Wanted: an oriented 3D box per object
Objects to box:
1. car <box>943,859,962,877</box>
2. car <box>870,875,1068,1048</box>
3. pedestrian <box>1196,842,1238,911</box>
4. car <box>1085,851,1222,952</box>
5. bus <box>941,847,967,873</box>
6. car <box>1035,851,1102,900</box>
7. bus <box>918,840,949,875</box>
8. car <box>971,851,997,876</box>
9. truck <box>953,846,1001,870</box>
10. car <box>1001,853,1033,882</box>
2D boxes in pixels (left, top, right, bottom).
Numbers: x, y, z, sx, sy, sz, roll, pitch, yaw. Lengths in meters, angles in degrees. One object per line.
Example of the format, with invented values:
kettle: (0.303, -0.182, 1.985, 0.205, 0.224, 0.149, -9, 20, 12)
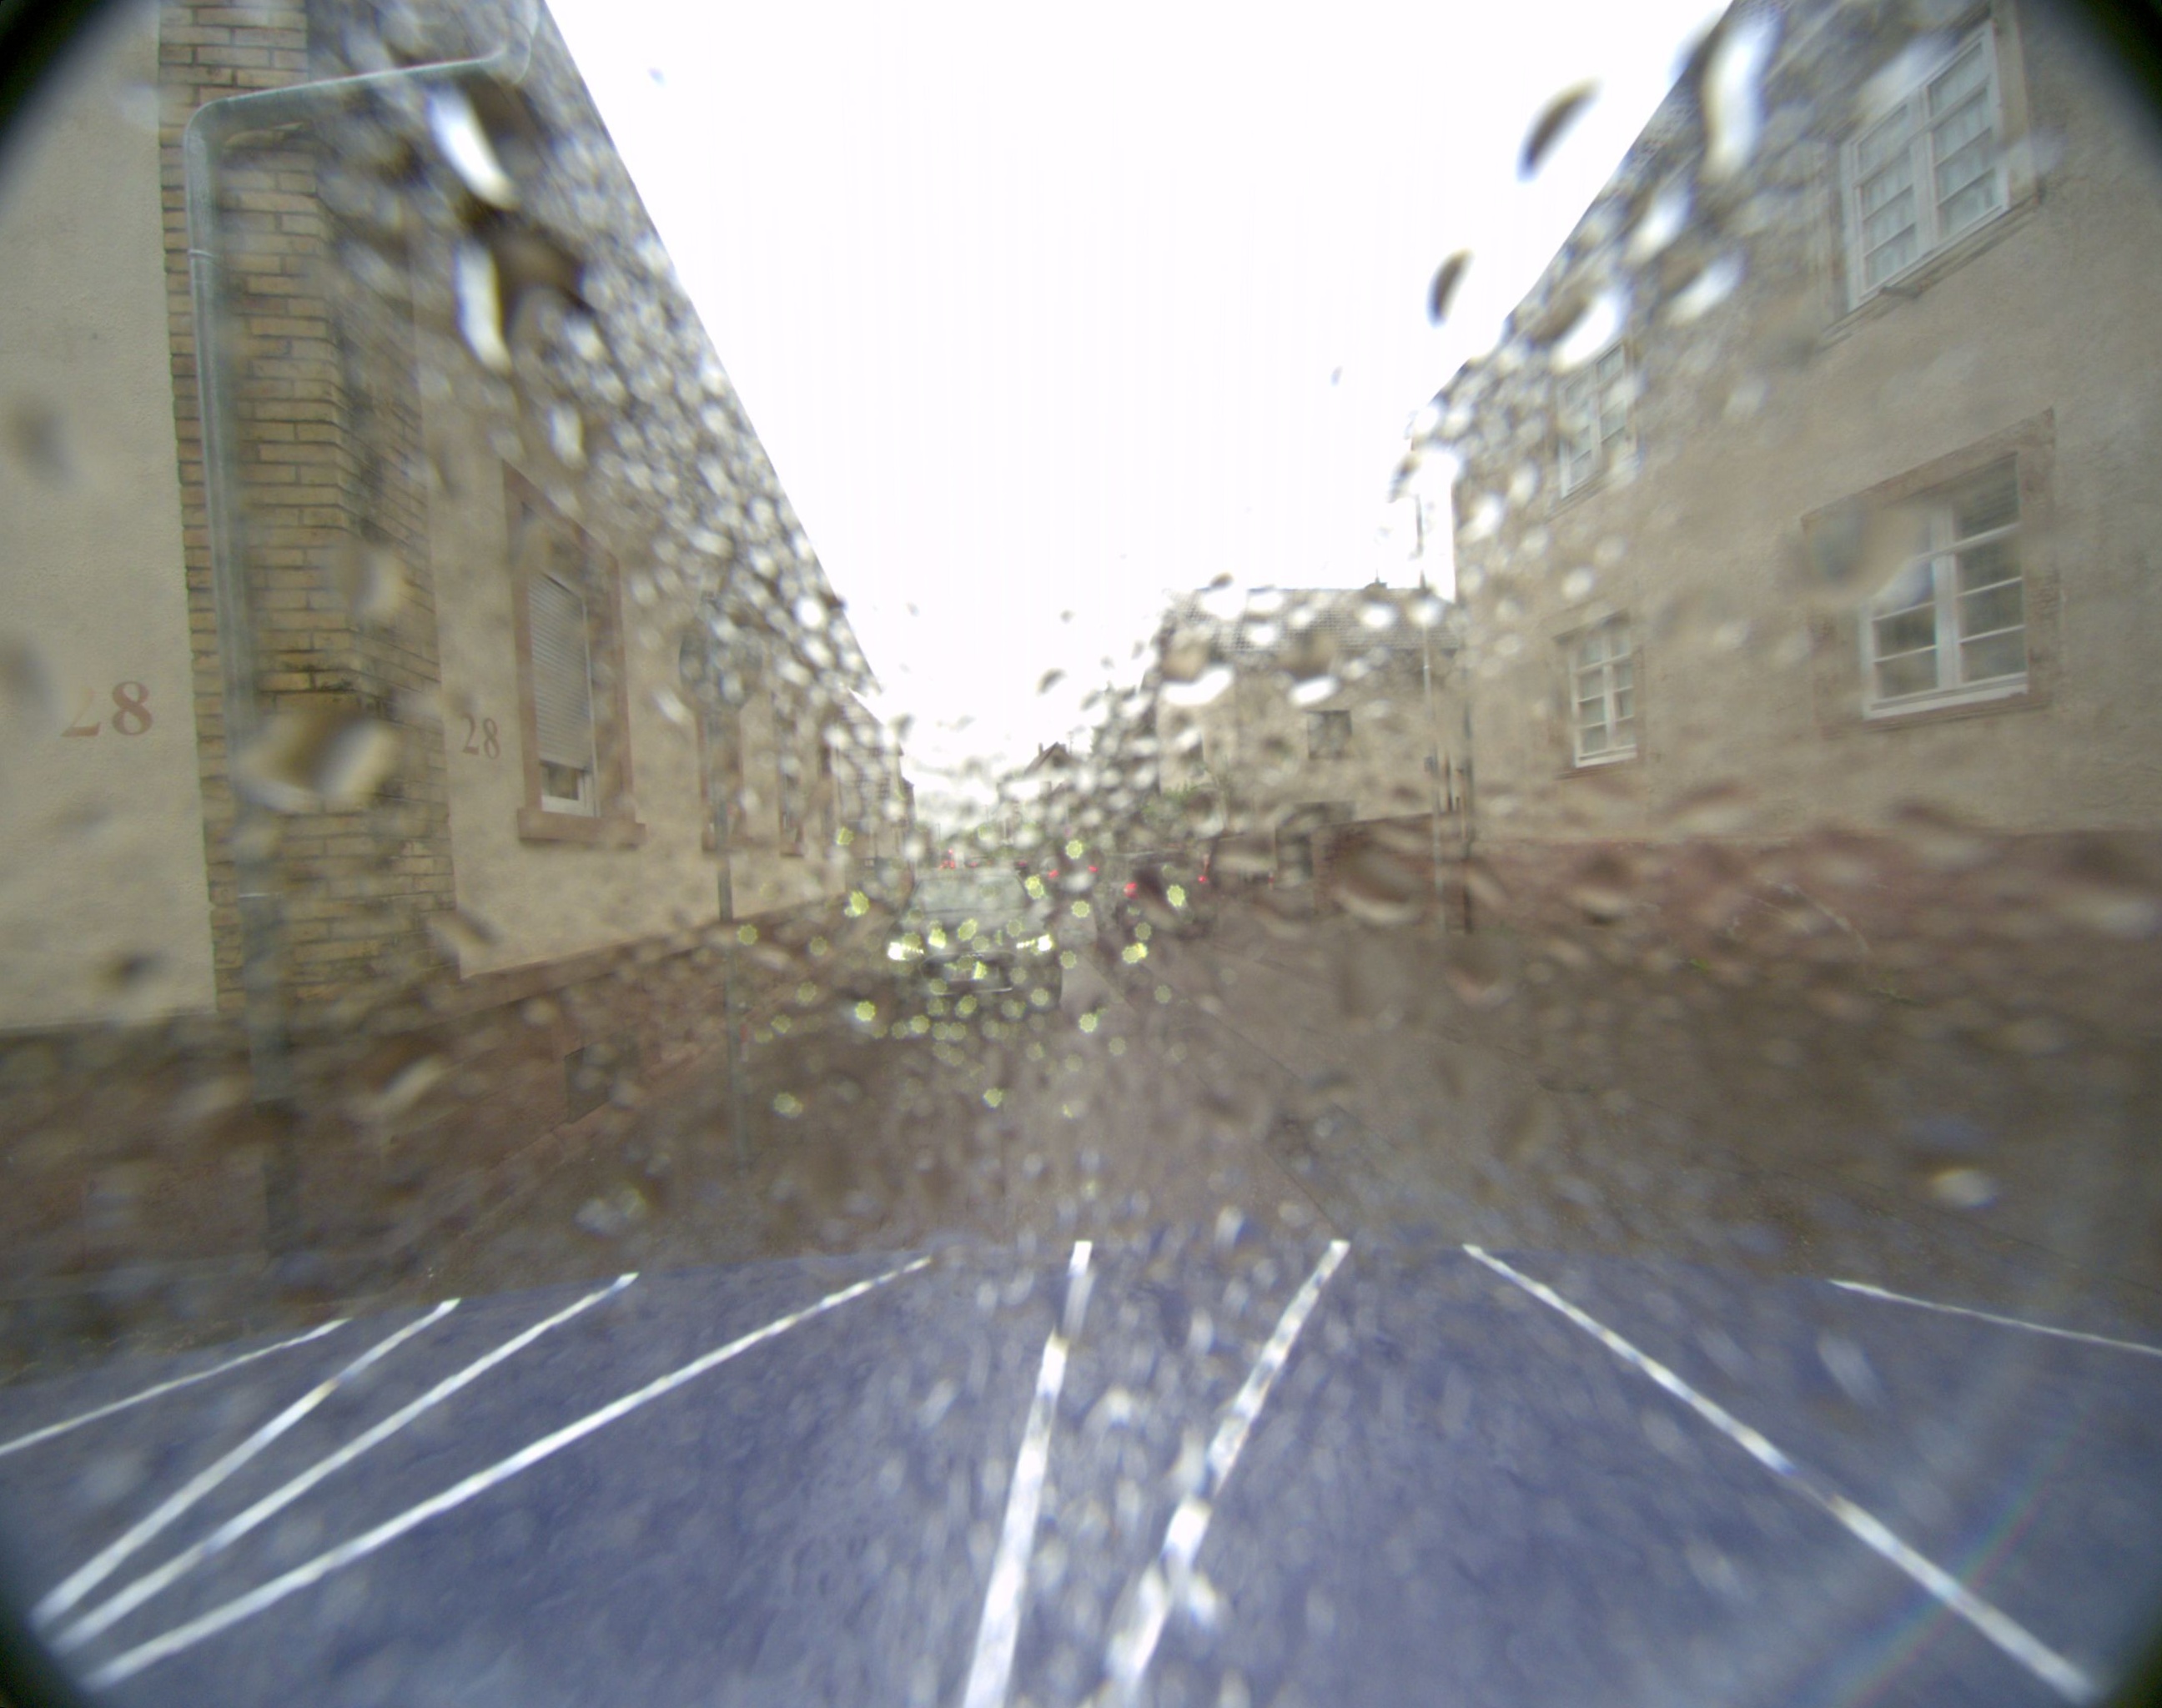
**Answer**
car: (-15.551, 1.645, 91.871, 2.001, 2.002, 3.995, -2, 1, -13)
car: (-1.328, 1.022, 8.974, 1.740, 1.363, 4.098, -2, 0, -9)
pedestrian: (3.192, 0.525, 17.823, 0.574, 1.529, 0.832, -5, 1, -12)
car: (1.177, 0.751, 13.972, 1.609, 1.504, 3.685, -4, 1, -8)
bus: (-17.118, 0.713, 101.854, 2.670, 3.213, 12.178, -2, 1, -12)
car: (-0.542, 0.684, 26.794, 1.701, 1.500, 4.337, -2, 1, -9)
bus: (-15.096, 0.318, 77.247, 2.670, 3.213, 12.178, -2, 1, -12)
car: (-7.542, 0.703, 58.737, 1.786, 1.655, 4.422, -5, 2, -8)
truck: (-11.534, 0.441, 84.518, 1.995, 2.490, 5.660, -2, 1, 33)
car: (-3.912, 0.770, 46.056, 1.627, 1.502, 3.790, -6, 1, -8)
